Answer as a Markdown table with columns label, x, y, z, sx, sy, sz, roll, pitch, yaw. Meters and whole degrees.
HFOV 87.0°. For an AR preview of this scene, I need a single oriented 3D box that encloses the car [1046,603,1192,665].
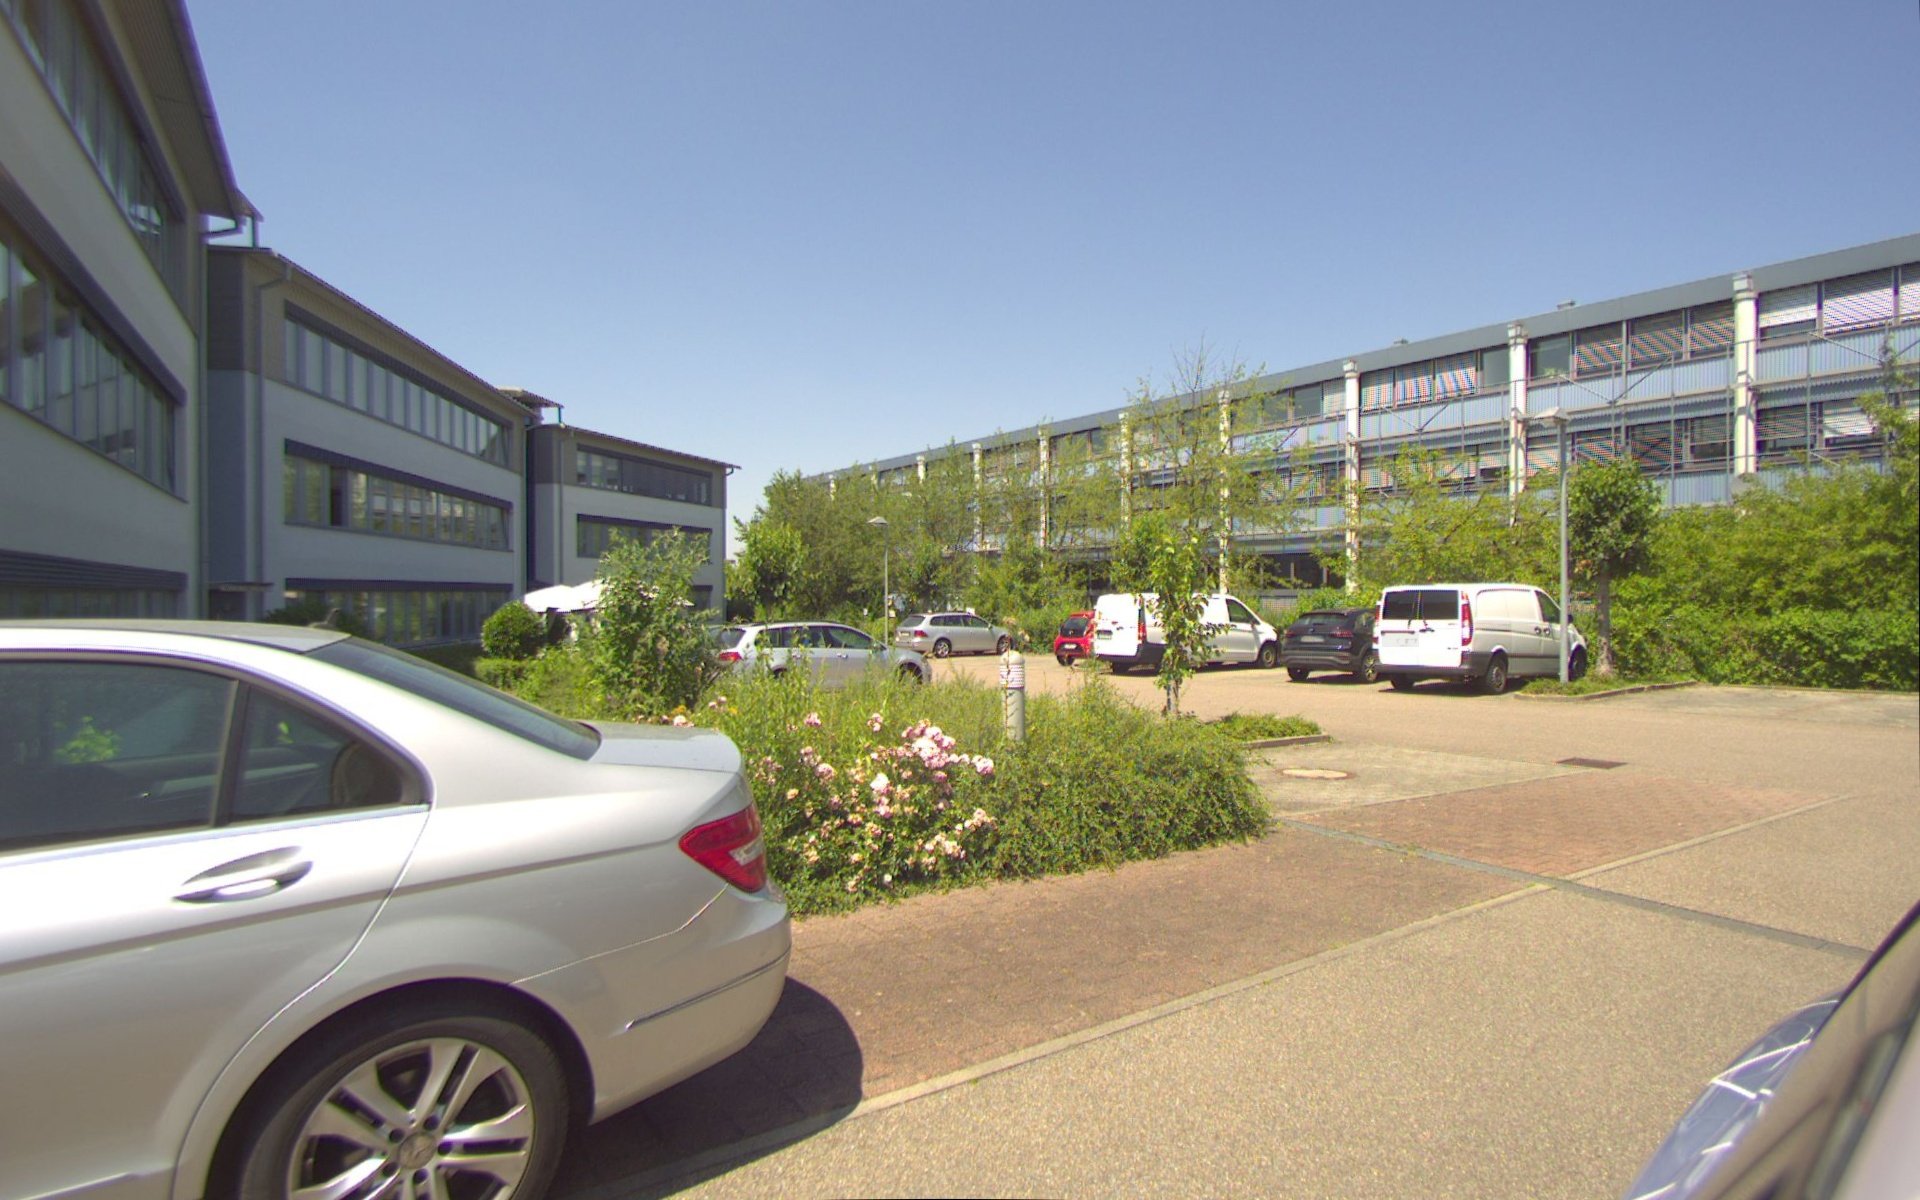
| label | x | y | z | sx | sy | sz | roll | pitch | yaw |
| --- | --- | --- | --- | --- | --- | --- | --- | --- | --- |
| car | 4.372 | 0.892 | 27.688 | 3.845 | 1.507 | 1.625 | -1 | -1 | -33 |

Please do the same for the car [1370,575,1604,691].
| label | x | y | z | sx | sy | sz | roll | pitch | yaw |
| --- | --- | --- | --- | --- | --- | --- | --- | --- | --- |
| car | 9.658 | 0.528 | 18.424 | 4.589 | 1.884 | 1.868 | -1 | -1 | -35 |

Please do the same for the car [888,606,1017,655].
| label | x | y | z | sx | sy | sz | roll | pitch | yaw |
| --- | --- | --- | --- | --- | --- | --- | --- | --- | --- |
| car | -0.230 | 0.993 | 33.903 | 4.005 | 1.503 | 1.740 | -1 | -1 | -32 |

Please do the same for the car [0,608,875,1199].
| label | x | y | z | sx | sy | sz | roll | pitch | yaw |
| --- | --- | --- | --- | --- | --- | --- | --- | --- | --- |
| car | -2.540 | 0.759 | 2.270 | 4.333 | 1.416 | 1.806 | -1 | 0 | -32 |

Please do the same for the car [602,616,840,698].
| label | x | y | z | sx | sy | sz | roll | pitch | yaw |
| --- | --- | --- | --- | --- | --- | --- | --- | --- | --- |
| car | -4.968 | 1.122 | 21.315 | 4.525 | 1.513 | 1.856 | 0 | -1 | -35 |

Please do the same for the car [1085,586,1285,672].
| label | x | y | z | sx | sy | sz | roll | pitch | yaw |
| --- | --- | --- | --- | --- | --- | --- | --- | --- | --- |
| car | 5.504 | 0.649 | 24.511 | 4.839 | 1.879 | 1.857 | -1 | -1 | -33 |

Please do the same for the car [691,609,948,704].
| label | x | y | z | sx | sy | sz | roll | pitch | yaw |
| --- | --- | --- | --- | --- | --- | --- | --- | --- | --- |
| car | -2.529 | 0.954 | 18.633 | 4.343 | 1.539 | 1.856 | 0 | -1 | -35 |

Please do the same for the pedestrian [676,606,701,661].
| label | x | y | z | sx | sy | sz | roll | pitch | yaw |
| --- | --- | --- | --- | --- | --- | --- | --- | --- | --- |
| pedestrian | -9.117 | 1.111 | 34.014 | 0.684 | 1.779 | 0.778 | -2 | 0 | -11 |

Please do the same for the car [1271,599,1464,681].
| label | x | y | z | sx | sy | sz | roll | pitch | yaw |
| --- | --- | --- | --- | --- | --- | --- | --- | --- | --- |
| car | 8.508 | 0.780 | 21.009 | 4.118 | 1.503 | 1.739 | -1 | -1 | -35 |
